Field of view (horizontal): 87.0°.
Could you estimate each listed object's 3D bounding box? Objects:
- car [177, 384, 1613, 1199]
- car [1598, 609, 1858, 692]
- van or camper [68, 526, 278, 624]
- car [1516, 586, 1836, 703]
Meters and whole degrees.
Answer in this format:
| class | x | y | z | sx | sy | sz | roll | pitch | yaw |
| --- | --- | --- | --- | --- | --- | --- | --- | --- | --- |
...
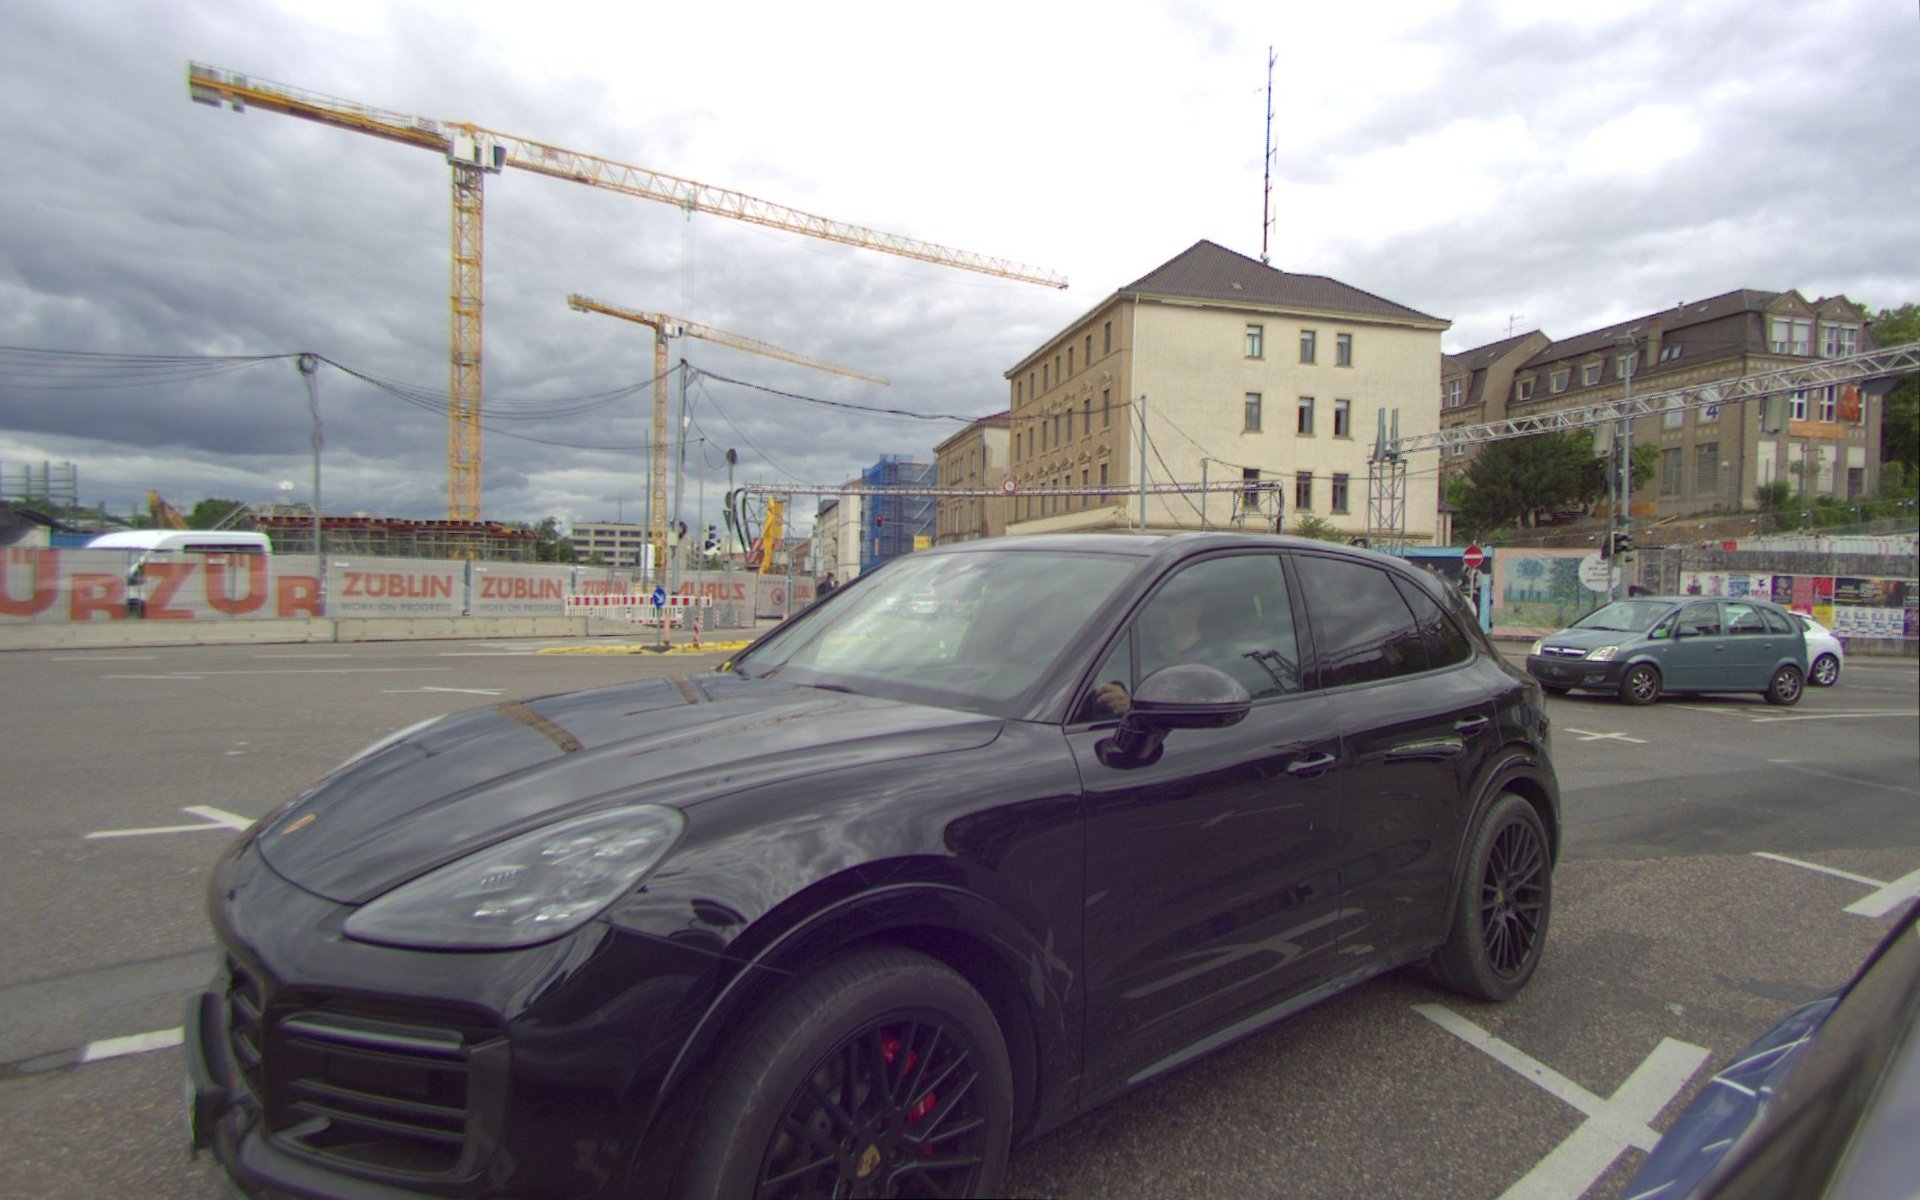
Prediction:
| class | x | y | z | sx | sy | sz | roll | pitch | yaw |
| --- | --- | --- | --- | --- | --- | --- | --- | --- | --- |
| car | 0.271 | 0.540 | 3.386 | 4.526 | 1.668 | 1.955 | 0 | 2 | -40 |
| car | 14.406 | 0.900 | 19.047 | 4.001 | 1.434 | 1.696 | 0 | 0 | -12 |
| van or camper | -19.678 | -0.680 | 25.554 | 1.965 | 2.254 | 3.996 | 1 | 3 | 6 |
| car | 10.664 | 0.598 | 15.180 | 3.872 | 1.593 | 1.696 | 0 | 1 | -12 |
